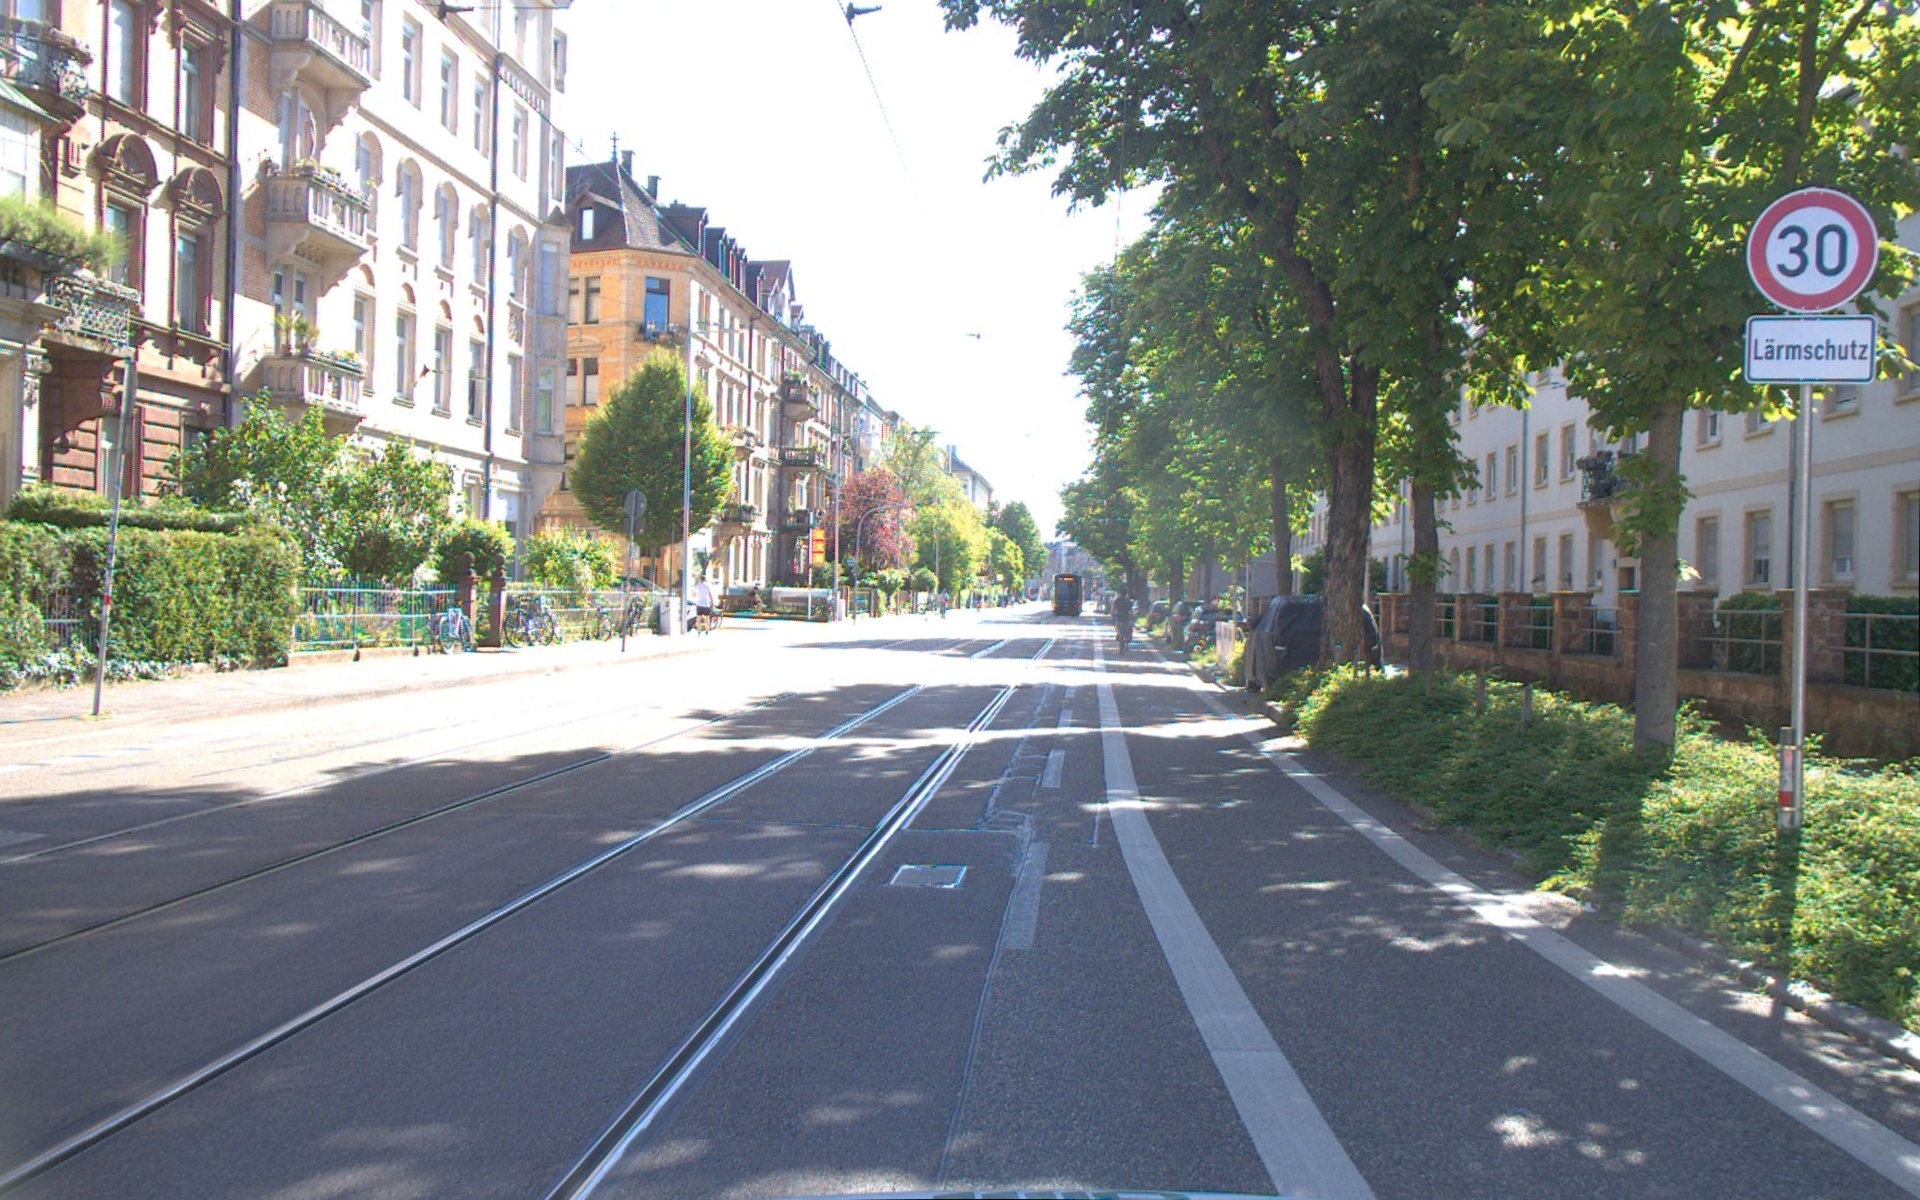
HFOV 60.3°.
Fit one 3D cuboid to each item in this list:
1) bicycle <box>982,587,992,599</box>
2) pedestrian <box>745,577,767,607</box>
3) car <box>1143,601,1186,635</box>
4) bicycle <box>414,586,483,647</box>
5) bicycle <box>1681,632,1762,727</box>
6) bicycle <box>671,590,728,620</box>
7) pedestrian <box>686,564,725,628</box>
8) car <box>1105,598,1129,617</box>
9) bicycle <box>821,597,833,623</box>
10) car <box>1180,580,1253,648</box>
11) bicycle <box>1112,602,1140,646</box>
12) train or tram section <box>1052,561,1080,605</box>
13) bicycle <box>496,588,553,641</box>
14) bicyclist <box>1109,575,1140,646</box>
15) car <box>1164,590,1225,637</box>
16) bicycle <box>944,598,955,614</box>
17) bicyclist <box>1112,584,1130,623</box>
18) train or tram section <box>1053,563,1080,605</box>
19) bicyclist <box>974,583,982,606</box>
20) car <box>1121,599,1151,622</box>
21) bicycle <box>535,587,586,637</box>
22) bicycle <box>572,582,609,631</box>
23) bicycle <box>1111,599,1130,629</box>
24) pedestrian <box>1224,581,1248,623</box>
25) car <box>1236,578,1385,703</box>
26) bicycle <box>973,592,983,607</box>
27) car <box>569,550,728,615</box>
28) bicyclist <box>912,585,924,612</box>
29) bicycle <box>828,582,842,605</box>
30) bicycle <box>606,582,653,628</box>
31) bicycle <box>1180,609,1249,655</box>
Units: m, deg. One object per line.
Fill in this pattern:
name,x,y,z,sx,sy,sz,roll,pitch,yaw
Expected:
bicycle,2.768,-0.720,170.826,0.622,1.087,1.826,4,0,-12
pedestrian,-9.527,-0.365,77.150,0.882,1.376,0.577,1,0,6
car,9.617,0.832,78.045,1.749,1.489,4.046,2,0,4
bicycle,-9.609,0.287,31.129,0.551,1.051,1.769,4,1,5
bicycle,10.893,1.116,23.698,0.438,1.260,1.676,2,0,3
bicycle,-8.862,0.177,56.246,1.765,0.930,0.614,4,-2,-32
pedestrian,-7.279,-0.098,47.364,0.812,1.753,1.082,4,-1,1
car,12.528,0.614,132.120,1.712,1.445,4.002,1,0,4
bicycle,-6.147,0.468,76.451,0.363,1.145,0.809,4,0,4
car,7.339,0.364,47.593,1.631,1.791,4.233,3,0,3
bicycle,4.567,0.642,45.640,0.677,1.131,1.719,4,0,5
train or tram section,8.949,-1.389,139.194,2.109,3.491,6.614,4,0,4
bicycle,-9.188,0.288,34.950,0.551,1.051,1.768,4,1,4
bicyclist,4.518,0.286,45.548,0.712,1.880,0.837,4,0,4
car,8.099,0.441,57.437,1.684,1.499,4.248,1,0,3
bicycle,-0.601,0.344,99.181,0.450,0.942,2.204,1,0,5
bicyclist,6.484,0.139,66.596,0.622,1.493,0.616,4,0,4
train or tram section,9.415,-1.415,145.837,2.109,3.491,6.614,4,0,4
bicyclist,1.435,-0.411,131.284,0.646,1.833,0.616,0,-1,4
car,11.994,0.673,112.769,1.594,1.461,4.666,2,0,1
bicycle,-8.899,0.247,36.910,0.551,1.051,1.768,4,1,4
bicycle,-9.068,0.141,40.554,0.555,1.051,1.758,6,1,-20
bicycle,6.459,0.548,66.745,0.677,1.131,1.918,4,0,5
pedestrian,12.061,0.089,72.225,0.750,1.754,0.578,4,0,34
car,5.753,0.614,27.634,1.707,1.796,4.480,4,0,4
bicycle,1.410,-0.031,131.267,0.677,1.132,1.719,1,0,5
car,-9.597,-0.540,51.159,4.352,1.672,1.968,4,0,7
bicyclist,-2.923,-0.104,114.900,0.632,1.827,0.956,4,0,4
bicycle,-5.846,-0.296,77.378,0.328,1.018,1.871,4,0,5
bicycle,-8.459,0.121,42.232,0.557,1.051,1.749,3,2,-32
bicycle,6.765,0.841,44.042,1.724,1.096,0.434,4,0,5
